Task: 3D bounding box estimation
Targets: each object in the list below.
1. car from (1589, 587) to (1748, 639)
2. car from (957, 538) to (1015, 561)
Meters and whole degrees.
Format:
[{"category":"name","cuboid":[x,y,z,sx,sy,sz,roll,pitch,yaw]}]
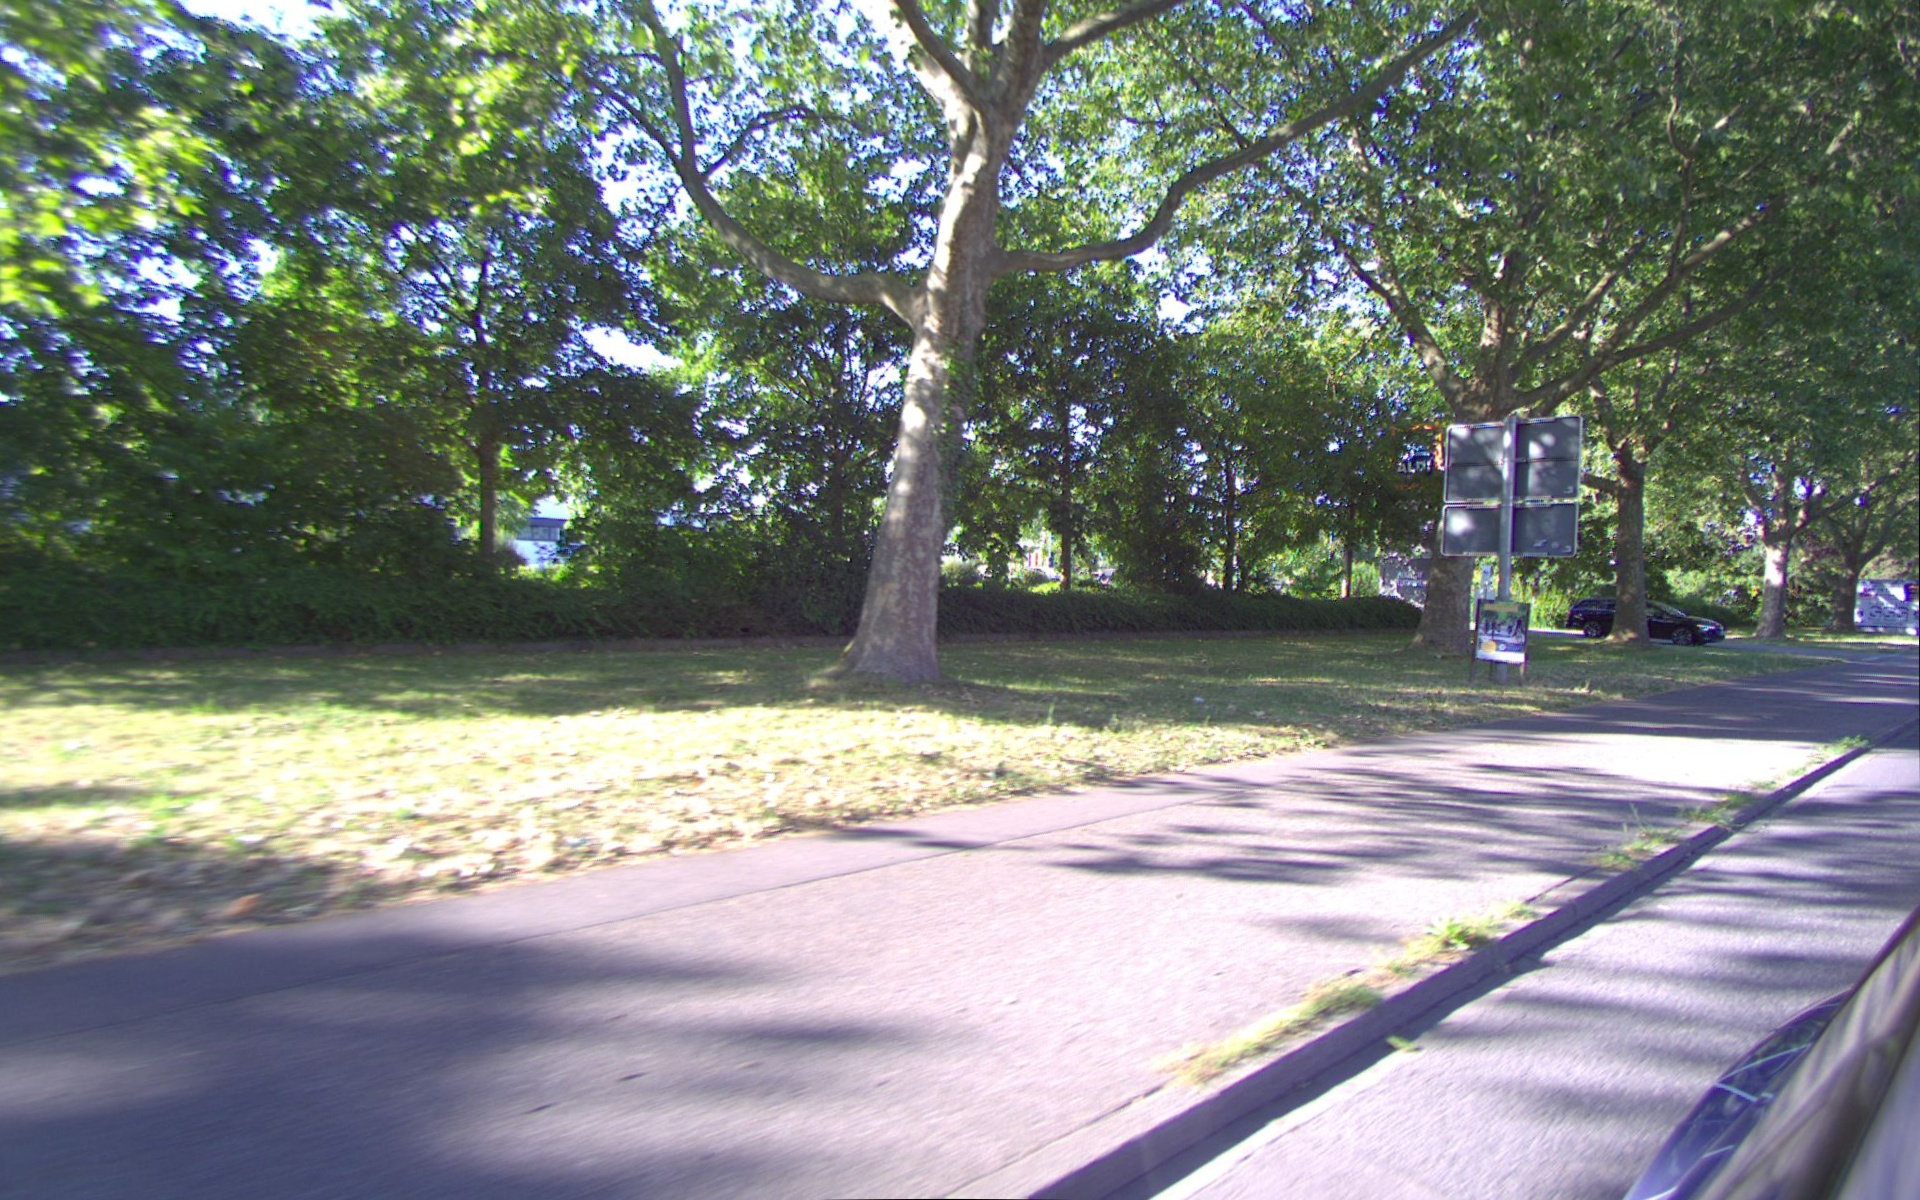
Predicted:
[{"category":"car","cuboid":[23.693,0.411,33.982,1.728,1.461,4.000,1,2,-37]},{"category":"car","cuboid":[1.876,-3.699,74.405,1.962,1.571,4.591,1,1,-34]}]
